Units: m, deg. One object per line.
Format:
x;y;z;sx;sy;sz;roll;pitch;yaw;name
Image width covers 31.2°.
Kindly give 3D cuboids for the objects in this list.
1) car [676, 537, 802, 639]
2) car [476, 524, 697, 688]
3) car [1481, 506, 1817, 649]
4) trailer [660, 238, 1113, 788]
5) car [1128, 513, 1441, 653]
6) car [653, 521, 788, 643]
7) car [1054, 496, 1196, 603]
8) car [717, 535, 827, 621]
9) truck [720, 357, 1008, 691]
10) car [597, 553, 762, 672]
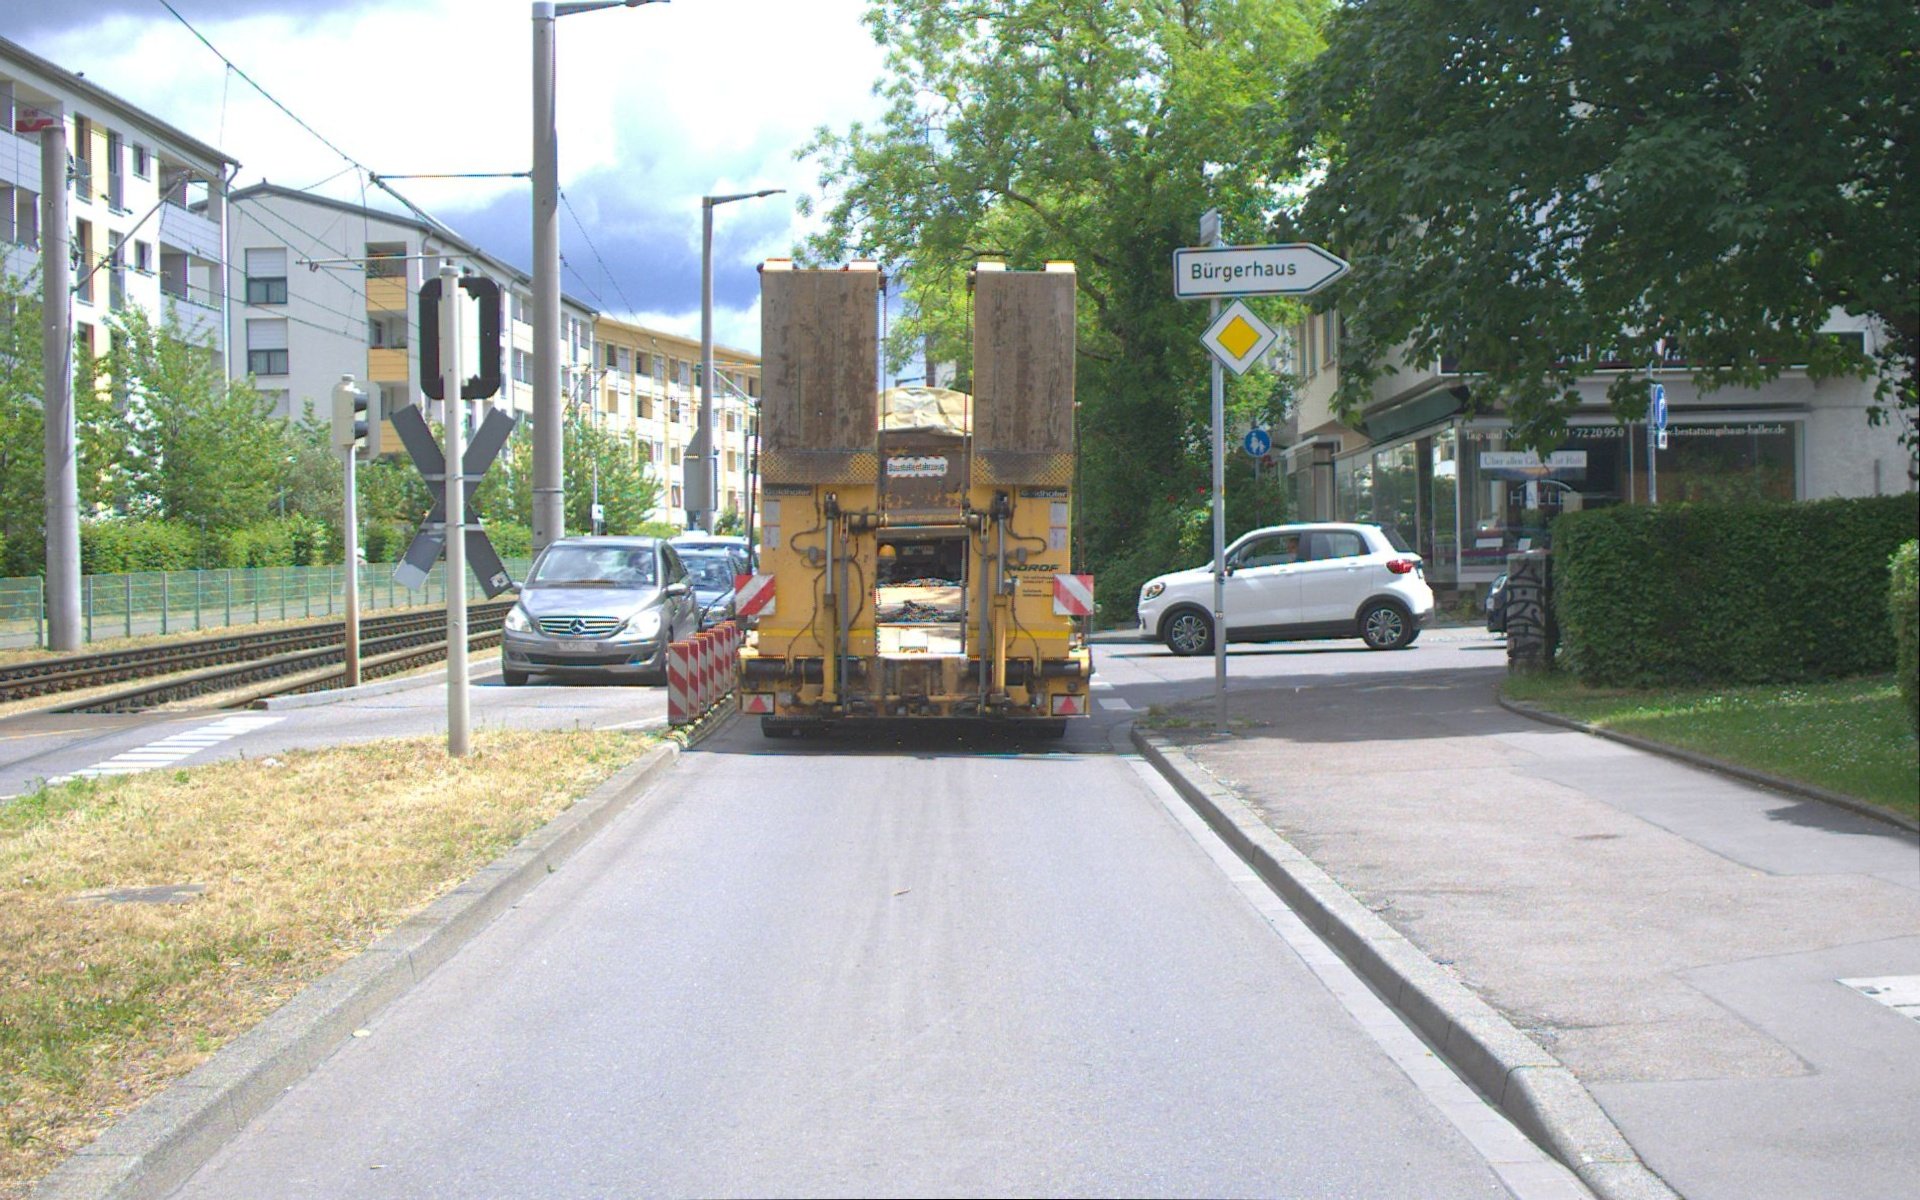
-3.861;-0.244;60.571;1.993;1.588;3.891;-2;2;-1;car
-4.049;0.048;37.865;1.802;1.646;4.131;-2;0;2;car
8.205;-0.271;40.843;3.700;1.517;1.999;-2;2;17;car
-0.823;-0.819;30.045;3.050;3.759;11.615;-2;2;-3;trailer
4.026;-0.216;42.334;3.600;1.579;1.999;-2;1;12;car
-3.619;-0.284;52.407;1.602;1.726;3.938;-2;0;2;car
2.673;-0.863;56.522;1.993;1.612;4.001;-2;2;-1;car
-3.702;-0.468;68.197;1.993;1.515;3.891;-2;2;-1;car
-1.195;-0.916;39.214;2.833;3.318;7.986;-2;2;-3;truck
-3.508;0.135;43.640;1.602;1.376;3.956;-2;0;2;car
